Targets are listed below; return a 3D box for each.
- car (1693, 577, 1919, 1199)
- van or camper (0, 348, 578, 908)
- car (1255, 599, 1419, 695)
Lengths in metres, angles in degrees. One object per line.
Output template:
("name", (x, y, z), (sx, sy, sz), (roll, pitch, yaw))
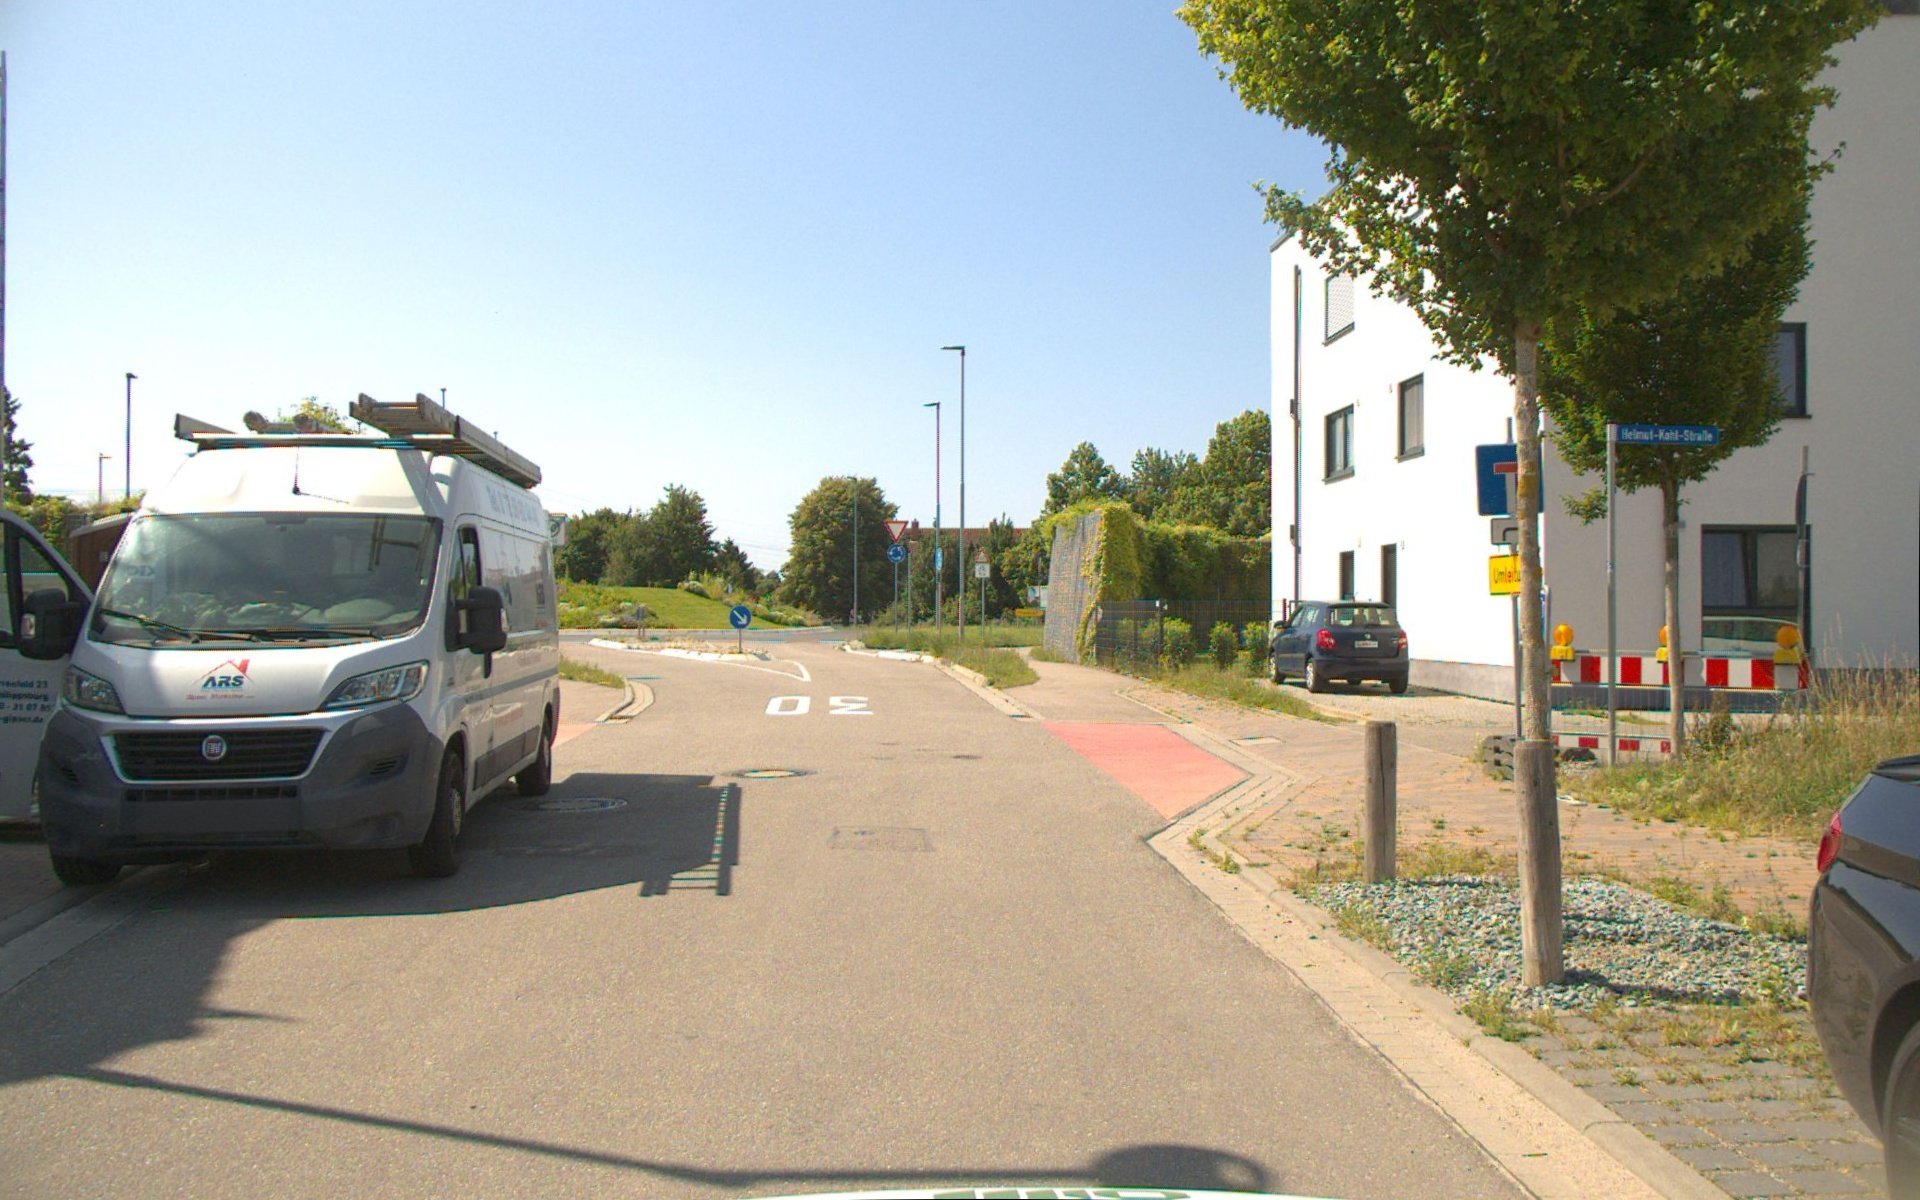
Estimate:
("car", (2.975, 0.691, 2.031), (1.879, 1.495, 5.140), (-1, 0, 0))
("van or camper", (-4.002, 0.173, 10.940), (2.230, 2.598, 6.356), (0, -1, -7))
("car", (6.396, 0.760, 28.504), (1.644, 1.495, 4.113), (1, 0, -4))
